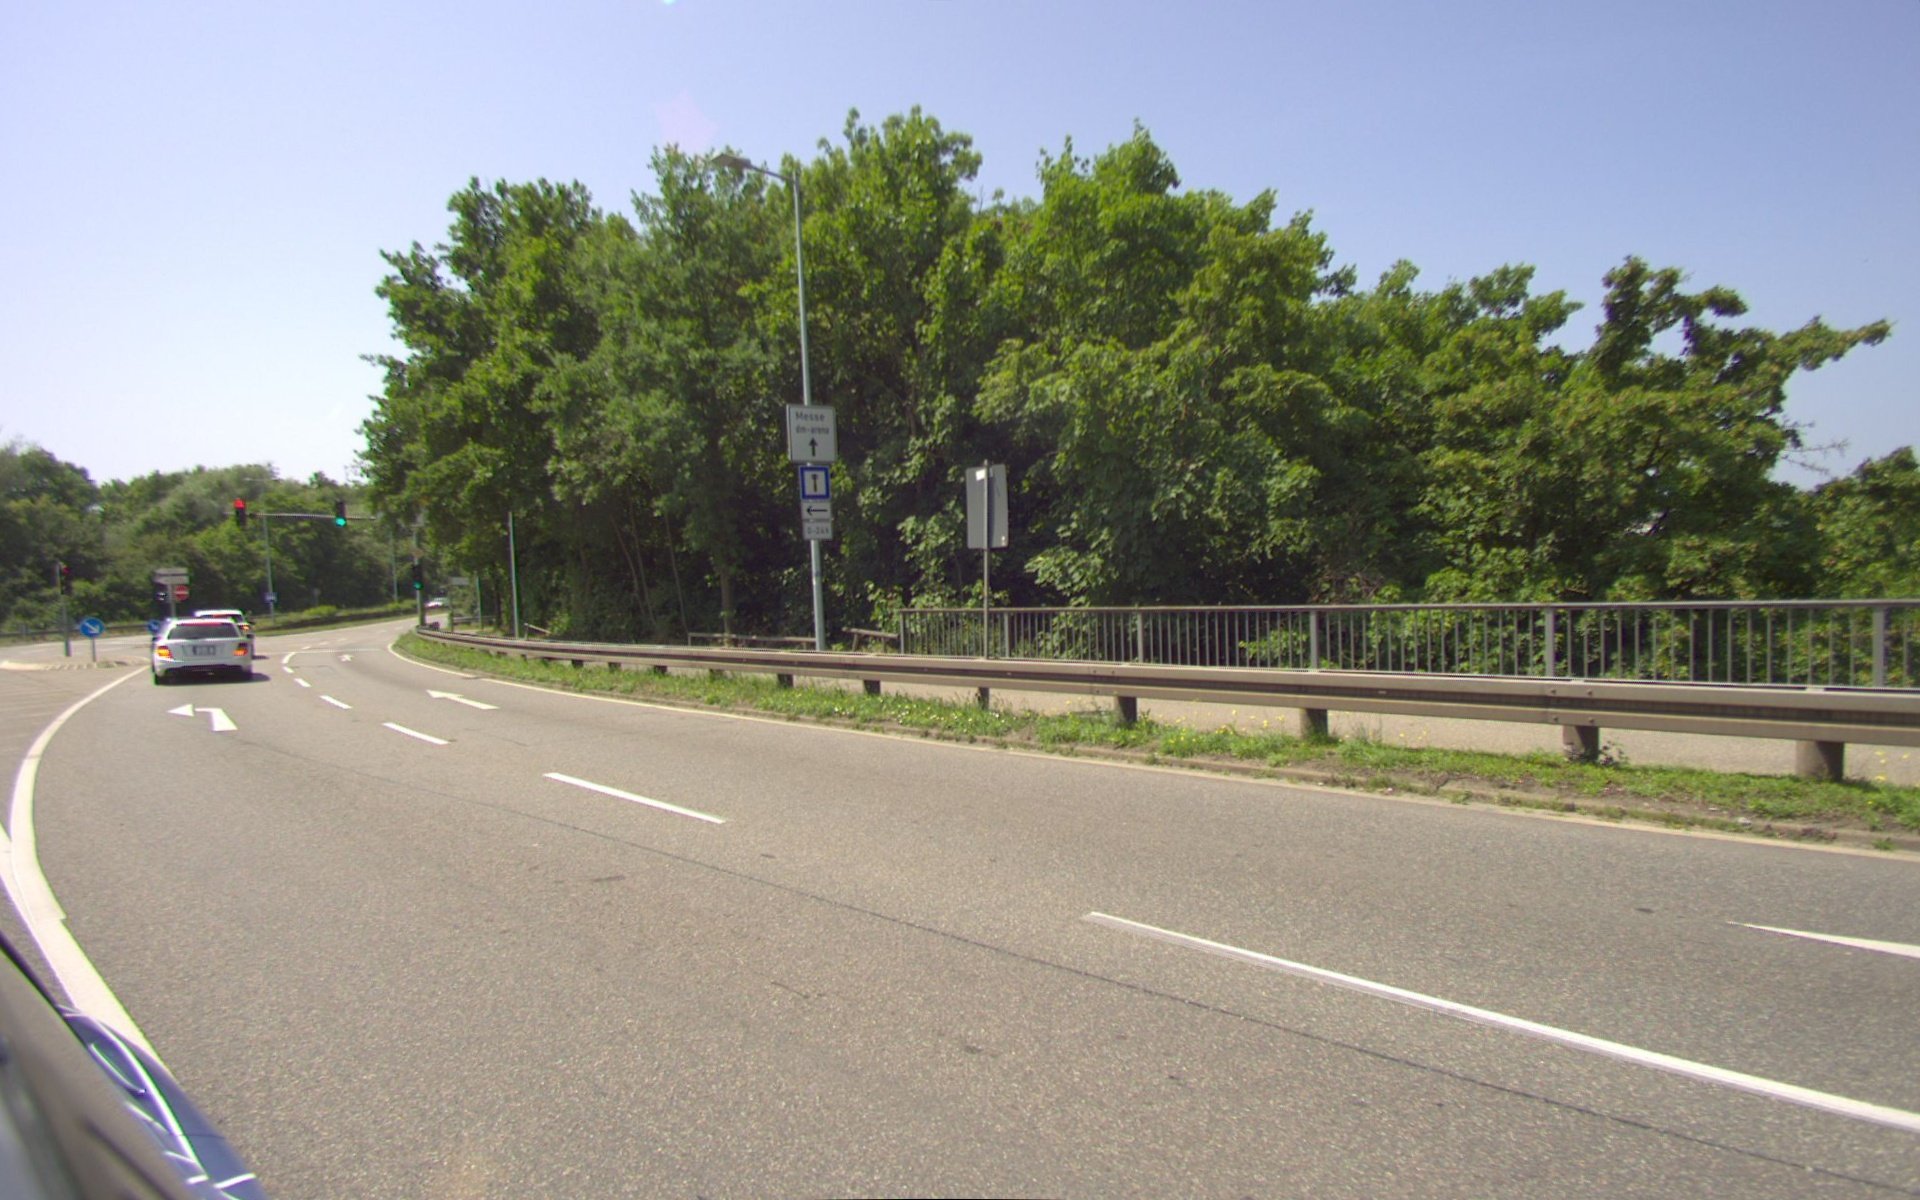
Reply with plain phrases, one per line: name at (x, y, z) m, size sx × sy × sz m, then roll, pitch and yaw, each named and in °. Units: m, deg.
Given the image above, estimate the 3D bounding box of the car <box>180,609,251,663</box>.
car at (-25.293, 1.174, 34.326) m, size 1.804 × 1.651 × 4.588 m, roll -2°, pitch 0°, yaw -38°

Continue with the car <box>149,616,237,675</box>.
car at (-21.339, 1.206, 28.270) m, size 1.804 × 1.417 × 4.557 m, roll -2°, pitch 1°, yaw -36°

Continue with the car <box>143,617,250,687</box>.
car at (-17.556, 1.109, 23.399) m, size 1.803 × 1.417 × 4.899 m, roll -1°, pitch 0°, yaw -36°
